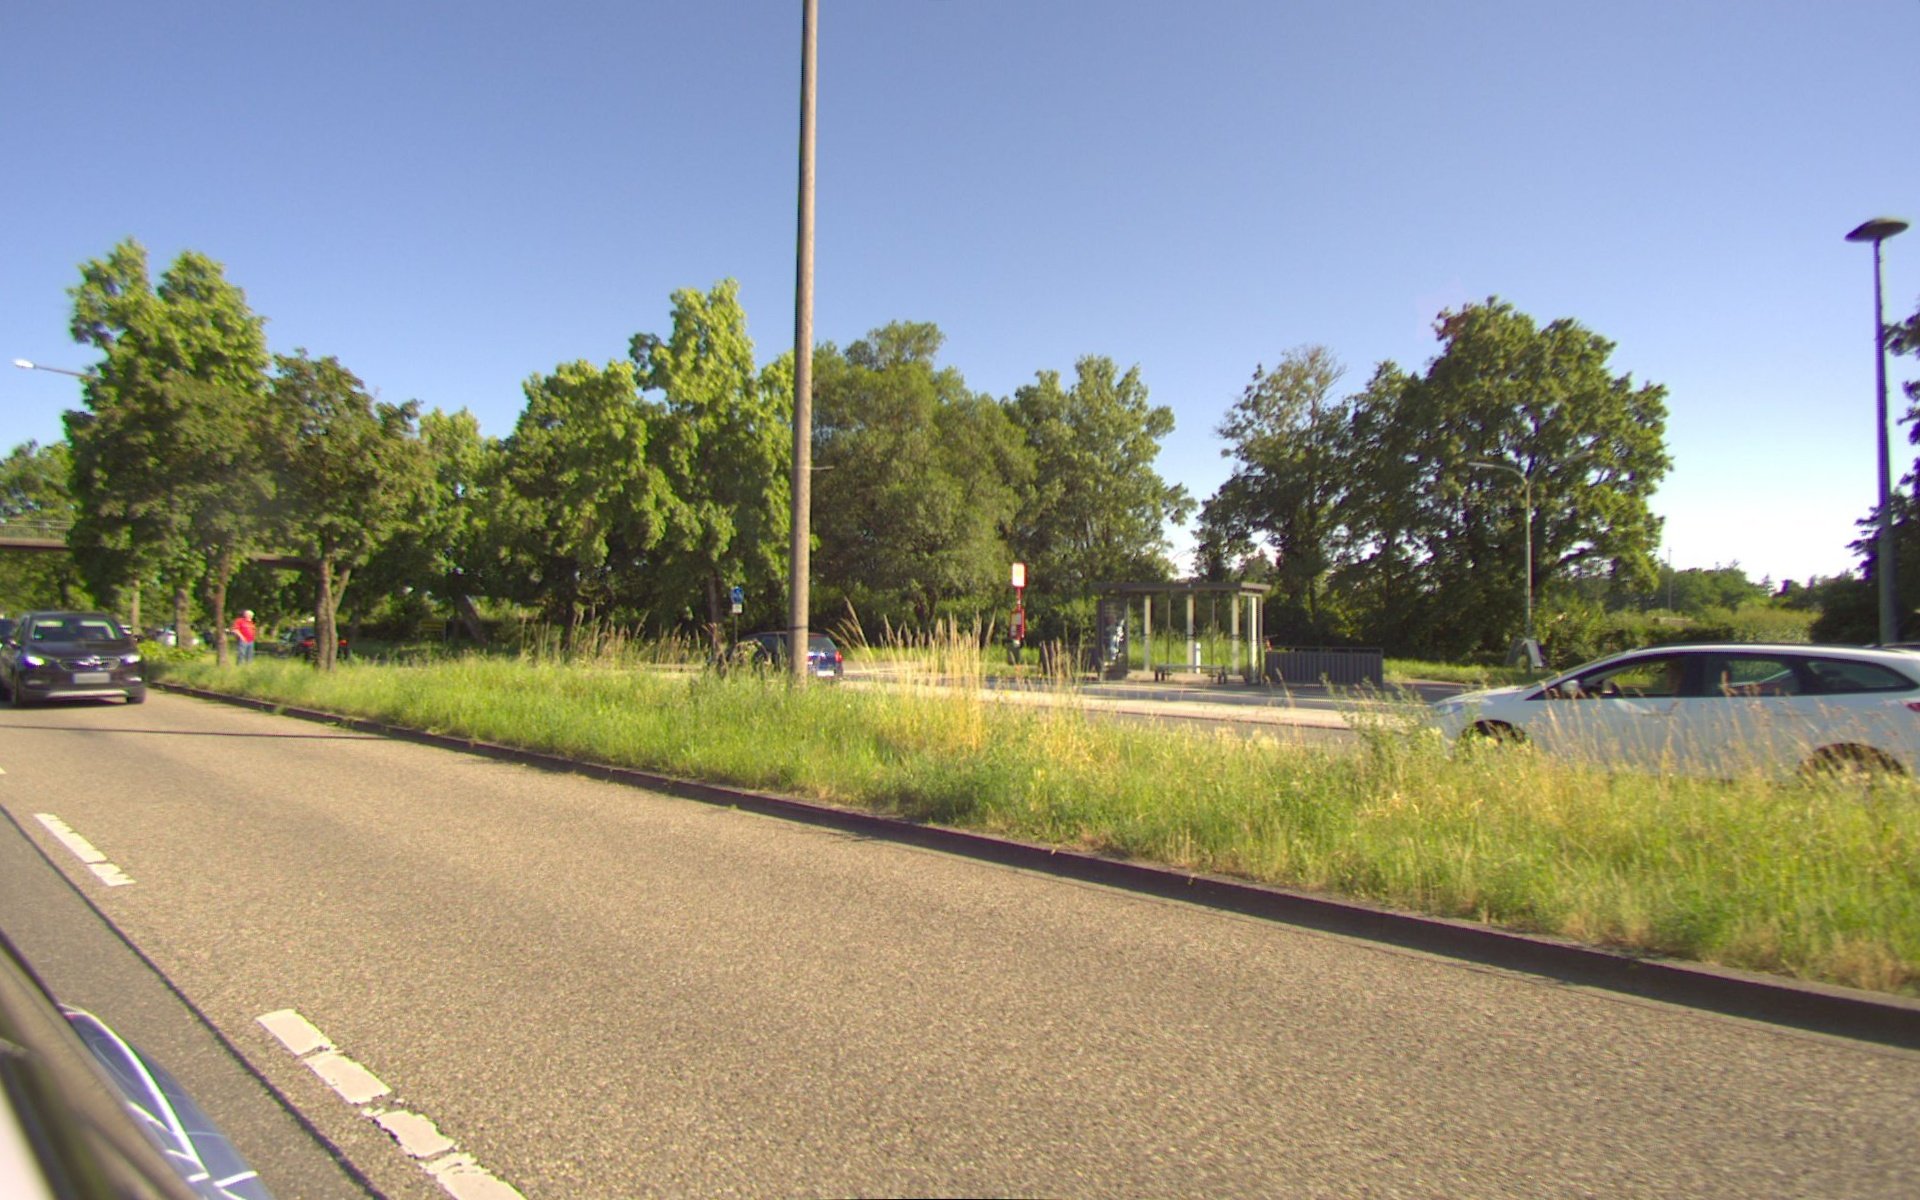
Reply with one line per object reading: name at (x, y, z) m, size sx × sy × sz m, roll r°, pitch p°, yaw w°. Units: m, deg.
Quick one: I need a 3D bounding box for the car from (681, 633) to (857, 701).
car at (-4.782, 1.590, 24.968) m, size 4.593 × 1.512 × 1.786 m, roll -1°, pitch -3°, yaw 41°

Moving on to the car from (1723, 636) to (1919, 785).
car at (10.937, 1.218, 11.117) m, size 3.997 × 1.575 × 1.588 m, roll -2°, pitch -5°, yaw 40°

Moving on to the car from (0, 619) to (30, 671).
car at (-30.979, 1.440, 32.039) m, size 4.645 × 1.574 × 1.799 m, roll -2°, pitch -3°, yaw 42°

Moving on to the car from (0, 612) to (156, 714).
car at (-16.168, 1.059, 18.274) m, size 4.512 × 1.627 × 1.787 m, roll -1°, pitch -2°, yaw 41°

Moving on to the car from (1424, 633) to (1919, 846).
car at (6.879, 1.130, 9.410) m, size 4.358 × 1.615 × 1.695 m, roll -1°, pitch -3°, yaw 43°

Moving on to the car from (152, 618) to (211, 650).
car at (-42.116, 1.860, 54.706) m, size 4.196 × 1.644 × 1.712 m, roll -2°, pitch -4°, yaw 41°

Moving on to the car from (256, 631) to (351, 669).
car at (-25.572, 1.915, 39.355) m, size 4.976 × 1.371 × 1.763 m, roll -1°, pitch -2°, yaw 41°

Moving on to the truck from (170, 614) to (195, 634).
truck at (-106.361, 3.272, 138.513) m, size 2.143 × 2.532 × 5.757 m, roll 4°, pitch -5°, yaw -33°

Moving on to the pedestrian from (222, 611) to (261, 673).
pedestrian at (-20.203, 1.184, 28.472) m, size 0.621 × 1.709 × 0.946 m, roll 1°, pitch -2°, yaw -18°
